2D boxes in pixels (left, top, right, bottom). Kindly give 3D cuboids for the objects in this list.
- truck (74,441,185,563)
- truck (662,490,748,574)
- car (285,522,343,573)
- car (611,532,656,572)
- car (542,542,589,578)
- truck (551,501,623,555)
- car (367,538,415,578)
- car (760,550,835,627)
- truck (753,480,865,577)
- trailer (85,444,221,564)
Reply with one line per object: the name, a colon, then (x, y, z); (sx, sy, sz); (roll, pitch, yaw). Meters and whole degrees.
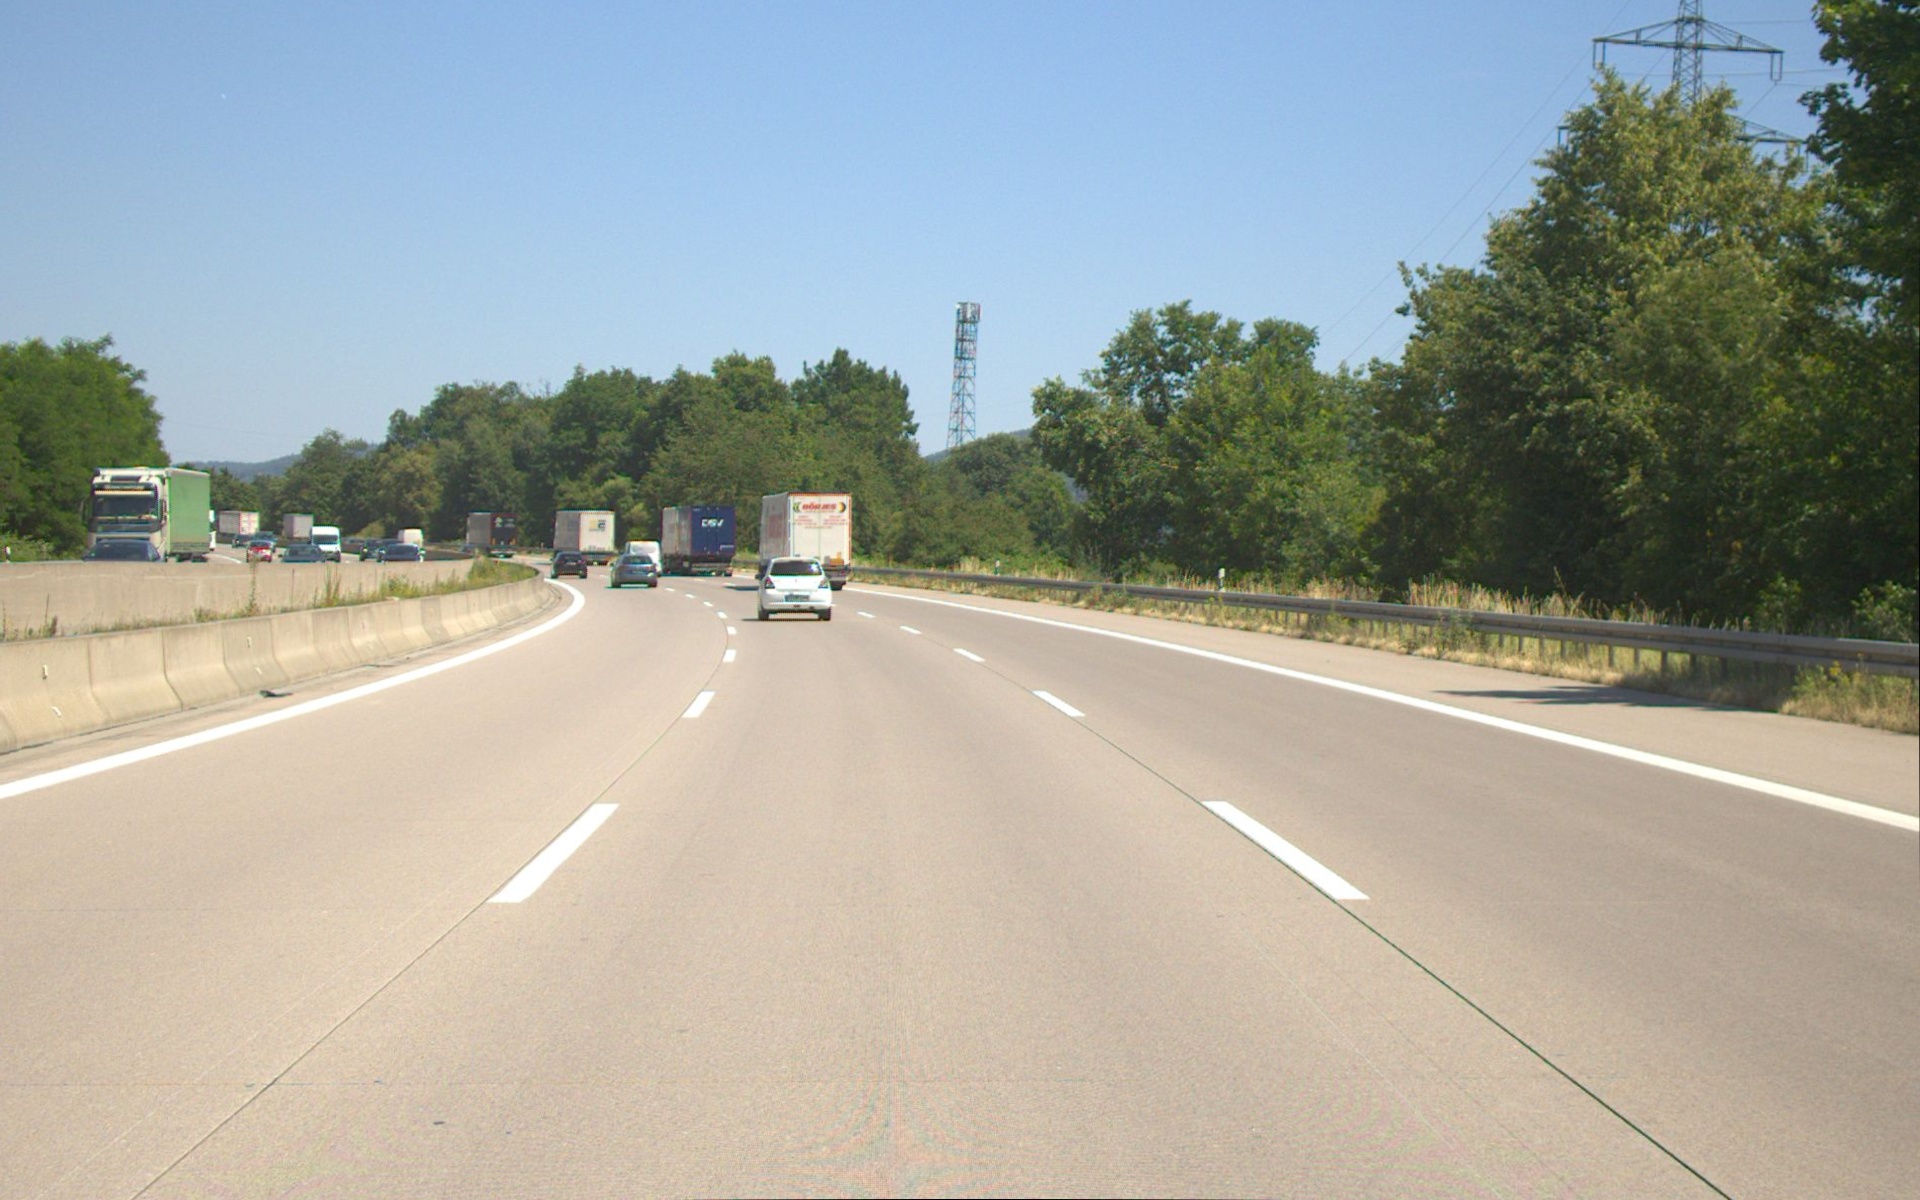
truck: (-27.302, -3.186, 113.270); (2.664, 3.922, 5.970); (0, 1, -5)
truck: (-14.946, -3.909, 200.551); (3.906, 4.725, 14.054); (0, 1, -9)
car: (-26.352, -2.133, 140.330); (1.862, 2.007, 4.001); (2, 1, -5)
car: (-14.222, -2.108, 149.666); (1.609, 1.719, 3.574); (0, 1, -10)
car: (-21.362, -2.163, 186.045); (2.021, 1.694, 4.001); (5, 1, -11)
truck: (-28.540, -5.453, 262.547); (3.895, 3.969, 13.625); (0, 1, -13)
car: (-26.534, -1.967, 160.418); (1.862, 1.843, 4.001); (0, 1, -5)
car: (-3.896, -0.298, 82.855); (1.641, 1.656, 3.361); (5, 1, -2)
truck: (-6.495, -2.956, 145.092); (3.819, 3.876, 14.156); (0, 1, -6)
trailer: (-27.776, -3.243, 118.913); (2.682, 3.922, 13.249); (0, 1, -5)
